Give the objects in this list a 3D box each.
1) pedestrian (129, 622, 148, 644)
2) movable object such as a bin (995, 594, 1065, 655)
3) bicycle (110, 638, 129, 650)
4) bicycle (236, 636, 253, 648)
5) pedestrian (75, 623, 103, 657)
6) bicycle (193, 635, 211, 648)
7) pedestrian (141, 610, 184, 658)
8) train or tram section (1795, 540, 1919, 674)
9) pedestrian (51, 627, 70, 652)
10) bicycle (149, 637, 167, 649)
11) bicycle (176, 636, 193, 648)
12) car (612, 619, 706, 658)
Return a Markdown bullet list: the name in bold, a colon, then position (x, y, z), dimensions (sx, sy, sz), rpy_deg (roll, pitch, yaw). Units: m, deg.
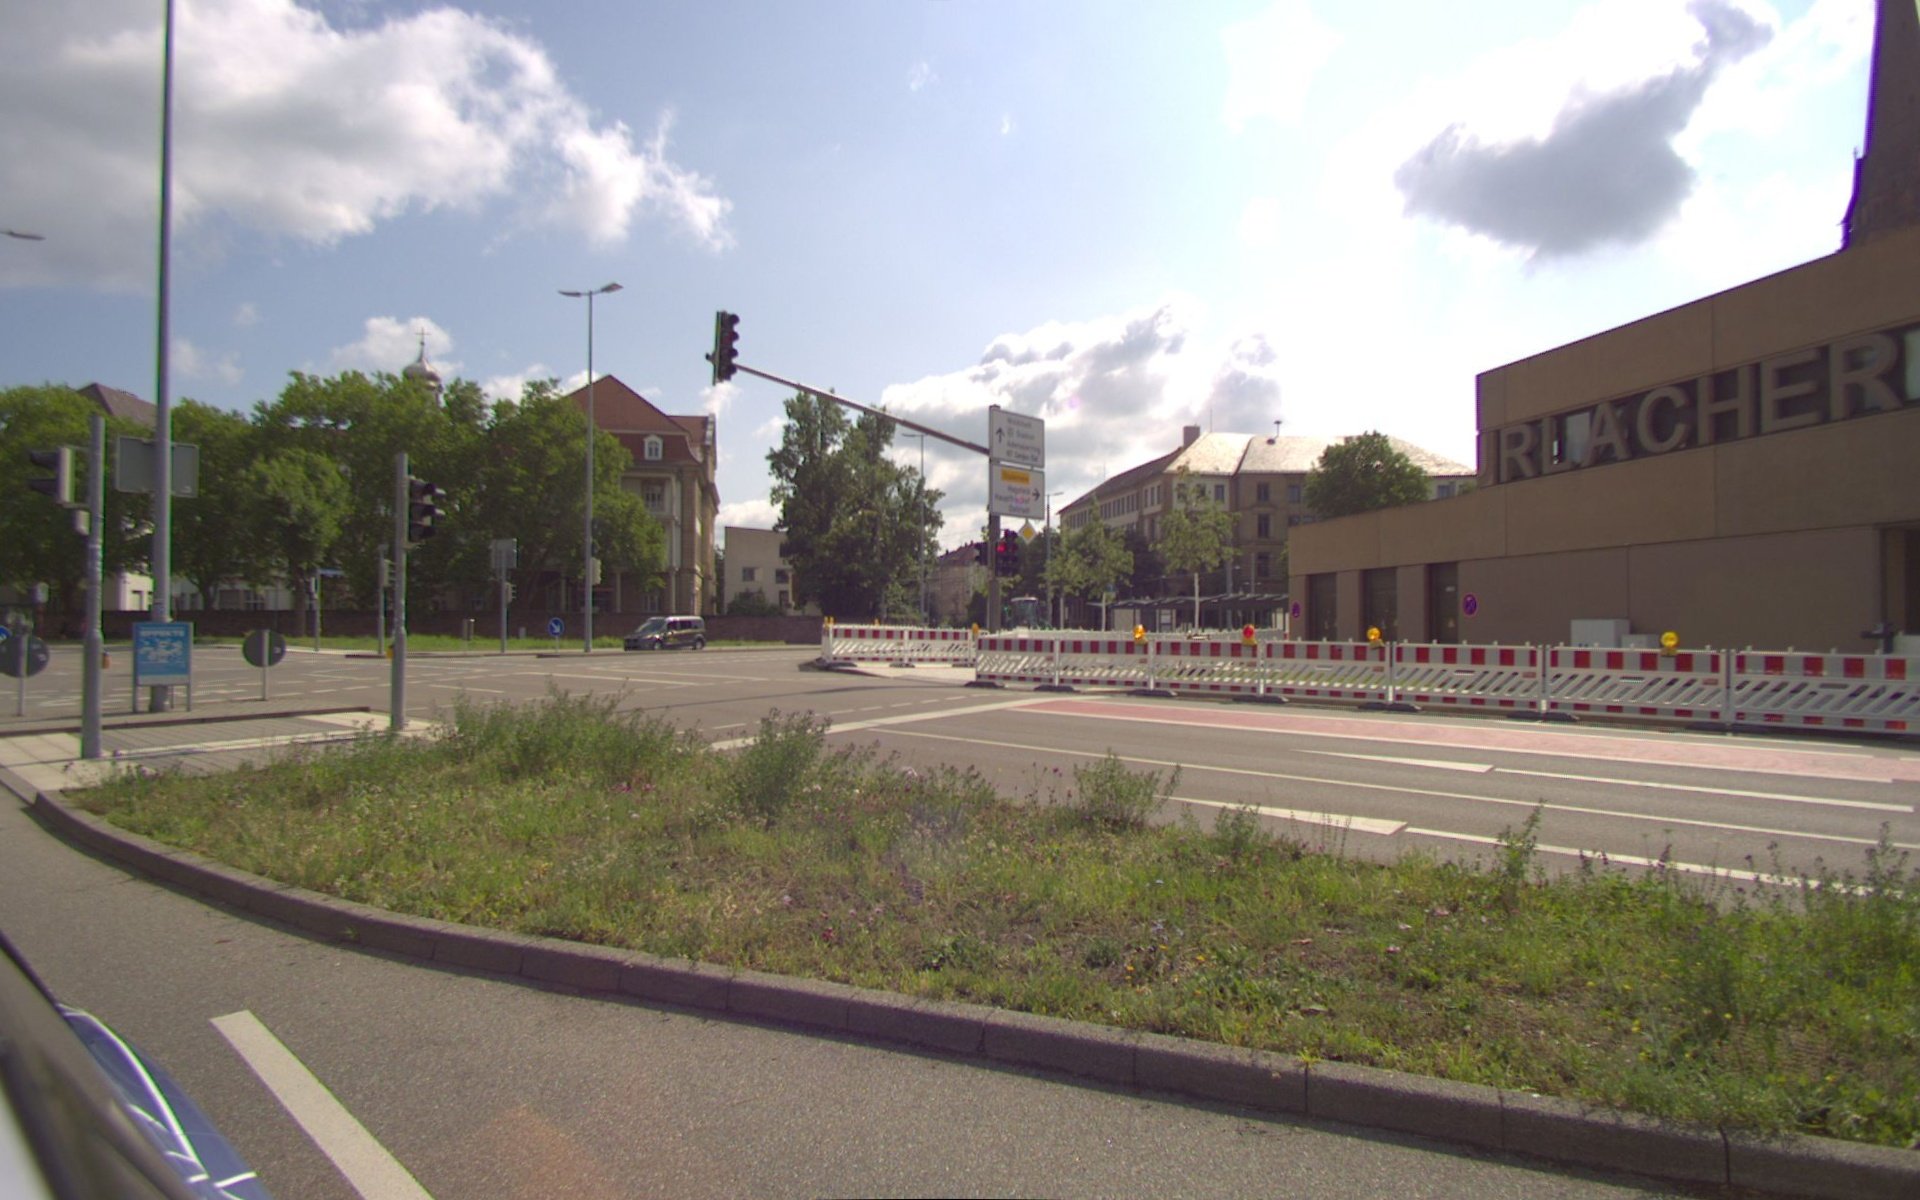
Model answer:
- **pedestrian**: position (-57.855, 2.331, 71.256), dimensions (0.714, 1.545, 0.726), rpy_deg (0, -1, 0)
- **movable object such as a bin**: position (3.529, 1.276, 51.819), dimensions (1.965, 2.972, 4.465), rpy_deg (1, -2, -20)
- **bicycle**: position (-59.805, 3.105, 72.023), dimensions (0.476, 0.855, 0.973), rpy_deg (0, -2, 2)
- **bicycle**: position (-50.626, 2.948, 71.581), dimensions (0.476, 0.855, 0.973), rpy_deg (0, -2, 2)
- **pedestrian**: position (-47.074, 2.170, 54.691), dimensions (0.957, 1.793, 0.746), rpy_deg (0, -1, 15)
- **bicycle**: position (-53.783, 2.943, 71.792), dimensions (0.476, 0.855, 0.973), rpy_deg (0, -2, 2)
- **pedestrian**: position (-31.920, 1.369, 40.516), dimensions (0.692, 1.871, 1.176), rpy_deg (-2, -2, 13)
- **train or tram section**: position (27.584, 0.106, 24.441), dimensions (2.587, 3.591, 12.443), rpy_deg (0, -1, -12)
- **pedestrian**: position (-63.213, 2.757, 71.139), dimensions (0.733, 1.736, 0.663), rpy_deg (0, -2, 5)
- **bicycle**: position (-56.926, 3.062, 71.876), dimensions (0.476, 0.855, 0.973), rpy_deg (0, -2, 2)
- **bicycle**: position (-55.066, 2.992, 71.853), dimensions (0.476, 0.855, 0.973), rpy_deg (0, -2, 2)
- **car**: position (-14.768, 1.900, 49.941), dimensions (1.844, 1.799, 4.632), rpy_deg (-2, -3, 25)
